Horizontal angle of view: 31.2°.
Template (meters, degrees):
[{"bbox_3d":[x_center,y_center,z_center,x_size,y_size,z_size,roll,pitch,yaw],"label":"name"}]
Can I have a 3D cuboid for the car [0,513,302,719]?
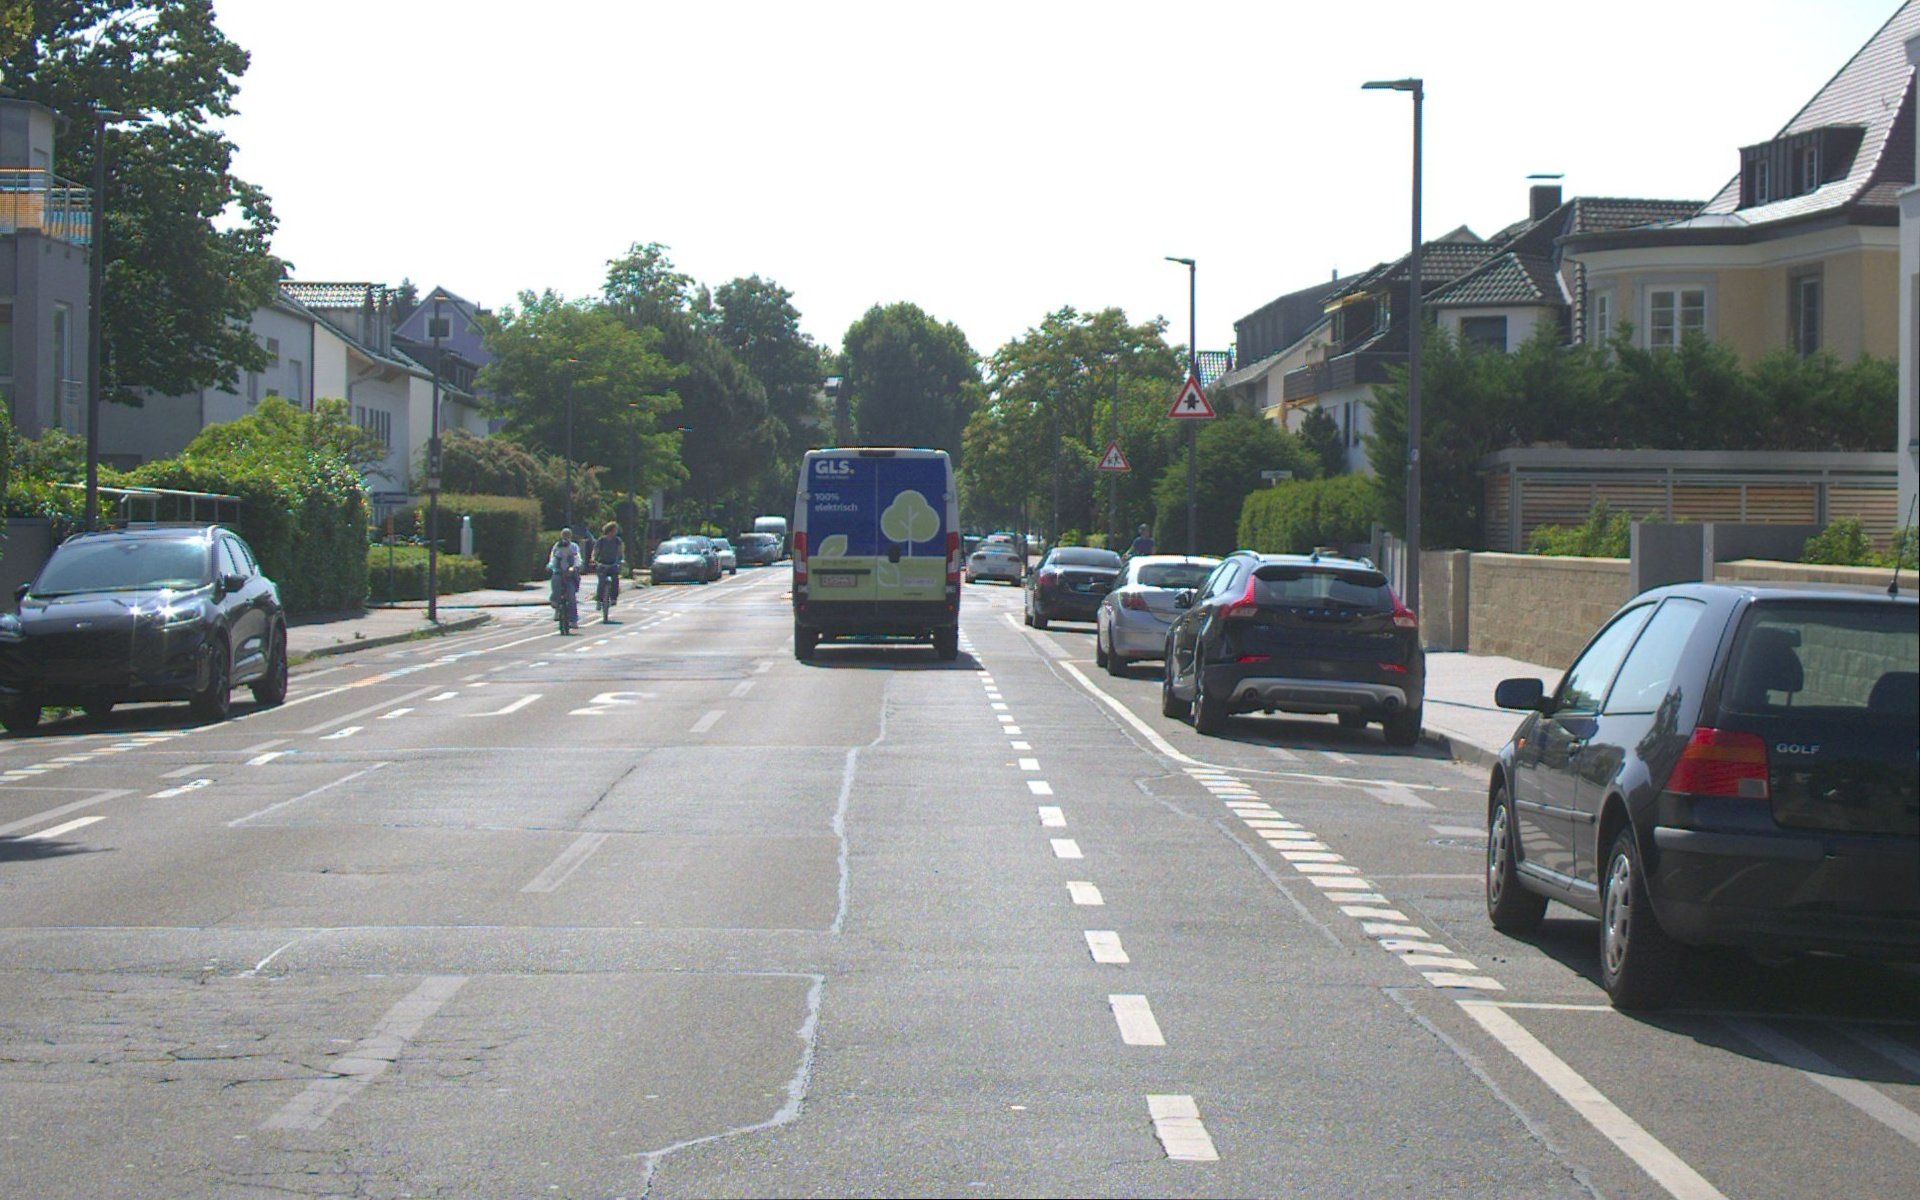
[{"bbox_3d":[-7.048,0.099,29.683,1.851,1.605,4.448,-2,1,0],"label":"car"}]

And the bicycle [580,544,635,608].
[{"bbox_3d":[-6.626,-0.454,64.670,0.782,1.162,2.420,-2,1,-1],"label":"bicycle"}]

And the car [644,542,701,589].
[{"bbox_3d":[-9.295,-1.135,111.241,1.785,1.435,4.156,-1,1,-4],"label":"car"}]

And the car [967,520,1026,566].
[{"bbox_3d":[1.196,-1.921,114.693,1.740,1.397,4.075,1,3,-2],"label":"car"}]

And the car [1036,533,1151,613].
[{"bbox_3d":[2.271,-0.492,59.466,1.736,1.324,4.260,0,1,-1],"label":"car"}]

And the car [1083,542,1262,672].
[{"bbox_3d":[2.439,0.072,40.264,1.736,1.324,4.076,4,0,0],"label":"car"}]

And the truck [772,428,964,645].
[{"bbox_3d":[-1.186,-0.797,43.391,2.272,2.562,4.393,1,1,-2],"label":"truck"}]

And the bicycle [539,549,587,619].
[{"bbox_3d":[-6.417,-0.273,55.659,0.600,1.101,1.346,-2,1,0],"label":"bicycle"}]

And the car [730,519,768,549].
[{"bbox_3d":[-10.354,-3.237,168.918,1.780,1.455,4.087,0,1,-2],"label":"car"}]

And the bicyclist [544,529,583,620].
[{"bbox_3d":[-6.415,-0.421,55.699,0.490,1.449,0.964,-2,1,0],"label":"bicyclist"}]

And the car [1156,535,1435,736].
[{"bbox_3d":[2.698,0.240,28.532,1.722,1.444,4.169,4,1,-1],"label":"car"}]

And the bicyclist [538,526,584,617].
[{"bbox_3d":[-7.038,-0.498,60.603,0.676,1.575,0.859,-2,1,0],"label":"bicyclist"}]

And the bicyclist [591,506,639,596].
[{"bbox_3d":[-6.464,-0.923,64.406,0.749,1.662,1.022,-2,1,0],"label":"bicyclist"}]

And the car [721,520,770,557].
[{"bbox_3d":[-8.392,-2.430,134.716,1.785,1.435,4.001,0,1,-2],"label":"car"}]

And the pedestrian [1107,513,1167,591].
[{"bbox_3d":[4.290,-1.175,83.247,0.899,1.866,1.189,0,1,-34],"label":"pedestrian"}]

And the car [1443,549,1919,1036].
[{"bbox_3d":[2.944,0.588,12.554,1.619,1.444,4.000,4,1,-1],"label":"car"}]

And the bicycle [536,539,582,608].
[{"bbox_3d":[-7.058,-0.477,60.573,0.559,1.181,2.036,-1,1,-1],"label":"bicycle"}]
